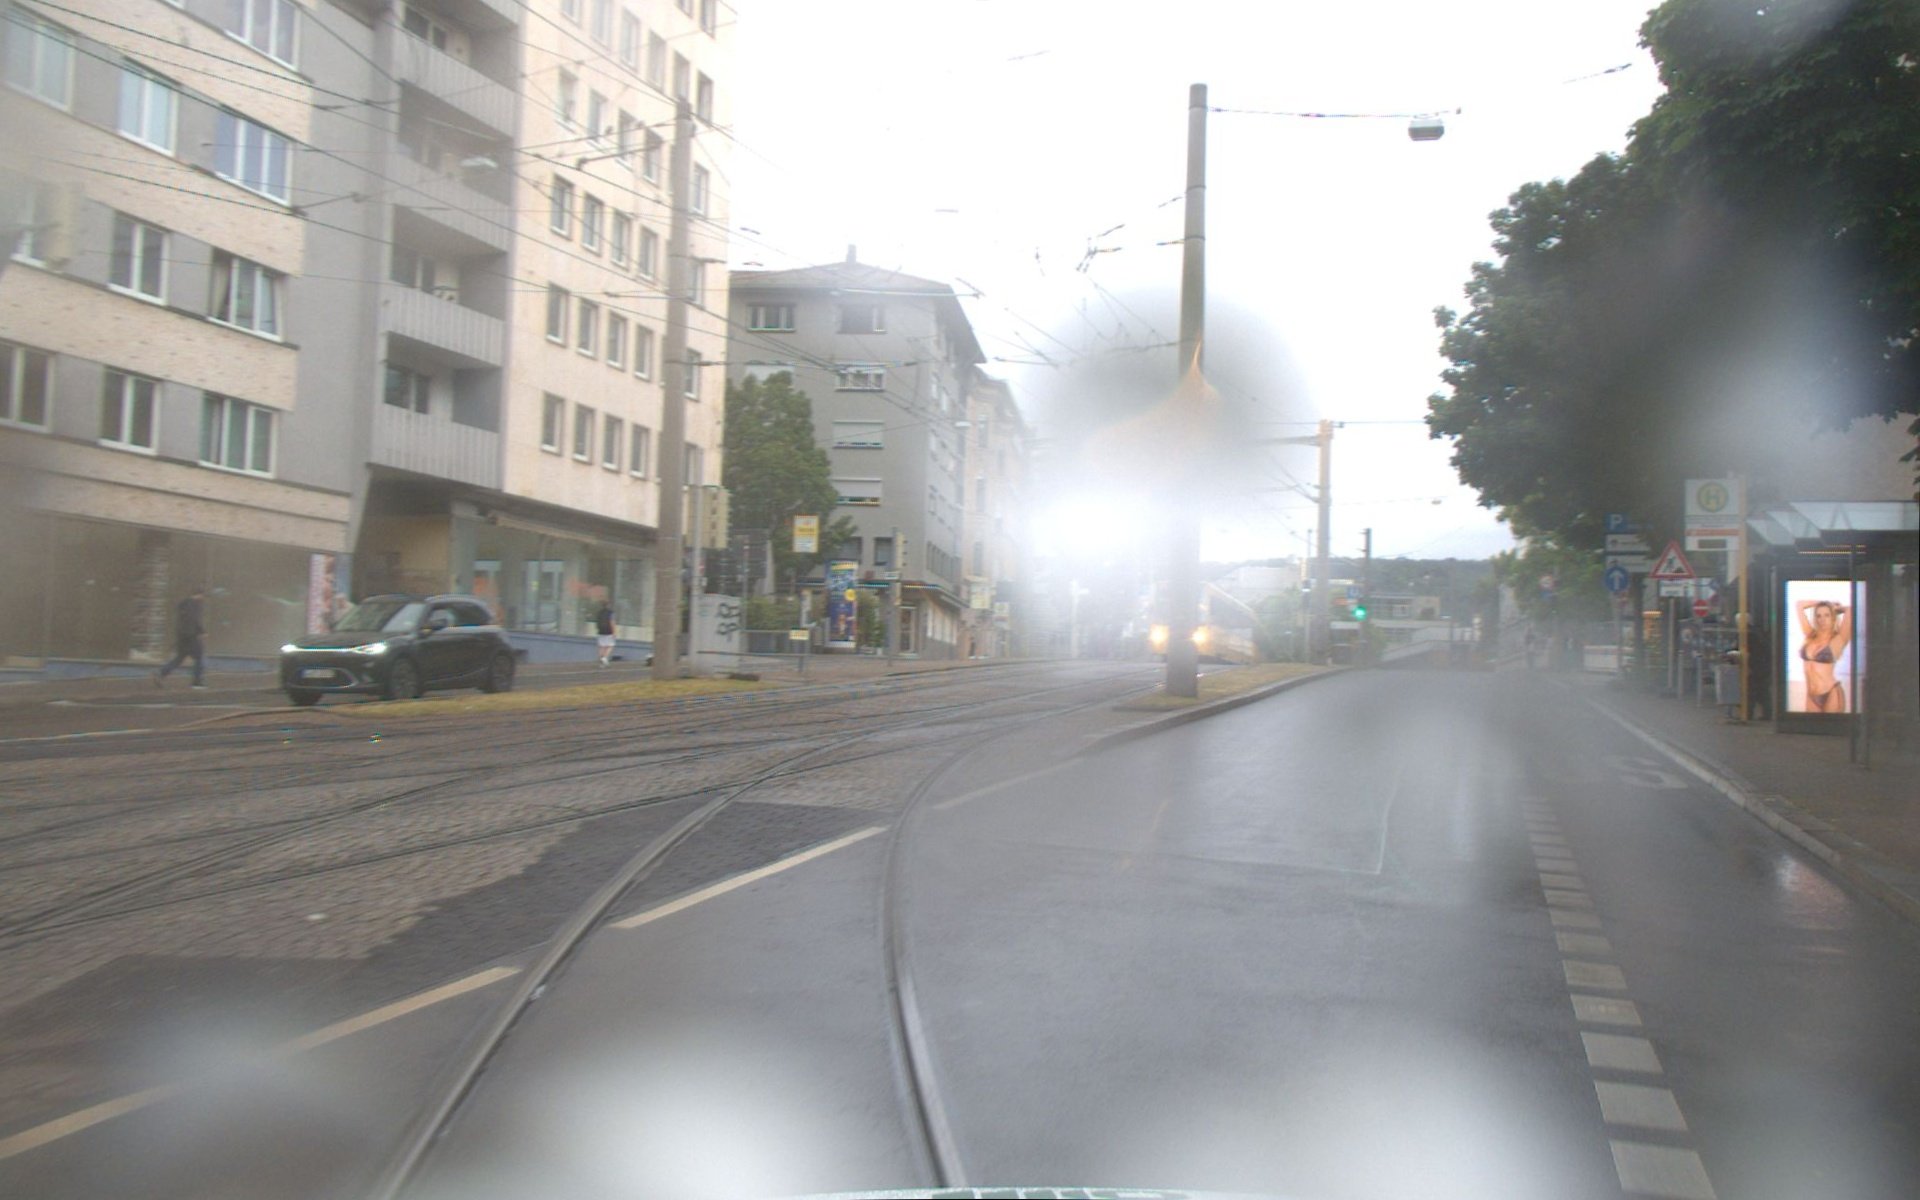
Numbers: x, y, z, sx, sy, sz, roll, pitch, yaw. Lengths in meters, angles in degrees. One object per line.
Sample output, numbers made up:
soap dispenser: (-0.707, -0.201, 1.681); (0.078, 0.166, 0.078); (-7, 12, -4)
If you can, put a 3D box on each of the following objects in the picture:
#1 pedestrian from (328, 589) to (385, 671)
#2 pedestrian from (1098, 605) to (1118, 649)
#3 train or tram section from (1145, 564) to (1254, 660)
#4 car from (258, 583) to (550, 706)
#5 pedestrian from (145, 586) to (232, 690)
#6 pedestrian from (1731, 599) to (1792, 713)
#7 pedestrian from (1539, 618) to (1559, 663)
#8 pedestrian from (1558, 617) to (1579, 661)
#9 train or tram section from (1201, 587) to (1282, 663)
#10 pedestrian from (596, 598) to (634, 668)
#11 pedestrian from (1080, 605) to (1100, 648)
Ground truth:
pedestrian: (-12.805, 0.638, 35.111); (0.664, 1.710, 0.999); (0, -1, 16)
pedestrian: (6.278, 1.148, 70.352); (0.717, 1.822, 0.697); (0, -1, 16)
train or tram section: (11.542, 0.830, 77.617); (2.688, 3.762, 18.980); (1, -2, 15)
car: (-8.428, 0.647, 25.558); (1.952, 1.702, 4.529); (0, -1, 18)
pedestrian: (-12.980, 0.637, 27.851); (0.871, 1.710, 0.996); (0, -1, 32)
pedestrian: (11.909, 0.820, 24.594); (0.651, 1.655, 0.968); (1, -1, 17)
pedestrian: (24.614, 1.675, 69.119); (0.685, 1.847, 0.977); (1, -1, 14)
pedestrian: (25.401, 1.632, 69.016); (0.685, 1.816, 1.067); (1, -1, 14)
train or tram section: (16.555, 1.658, 95.974); (2.688, 3.762, 18.980); (1, -2, 15)
pedestrian: (-8.873, 0.854, 42.564); (0.584, 1.768, 0.910); (0, -1, 16)
pedestrian: (5.527, 1.140, 70.555); (0.717, 1.822, 0.697); (0, -1, 16)
